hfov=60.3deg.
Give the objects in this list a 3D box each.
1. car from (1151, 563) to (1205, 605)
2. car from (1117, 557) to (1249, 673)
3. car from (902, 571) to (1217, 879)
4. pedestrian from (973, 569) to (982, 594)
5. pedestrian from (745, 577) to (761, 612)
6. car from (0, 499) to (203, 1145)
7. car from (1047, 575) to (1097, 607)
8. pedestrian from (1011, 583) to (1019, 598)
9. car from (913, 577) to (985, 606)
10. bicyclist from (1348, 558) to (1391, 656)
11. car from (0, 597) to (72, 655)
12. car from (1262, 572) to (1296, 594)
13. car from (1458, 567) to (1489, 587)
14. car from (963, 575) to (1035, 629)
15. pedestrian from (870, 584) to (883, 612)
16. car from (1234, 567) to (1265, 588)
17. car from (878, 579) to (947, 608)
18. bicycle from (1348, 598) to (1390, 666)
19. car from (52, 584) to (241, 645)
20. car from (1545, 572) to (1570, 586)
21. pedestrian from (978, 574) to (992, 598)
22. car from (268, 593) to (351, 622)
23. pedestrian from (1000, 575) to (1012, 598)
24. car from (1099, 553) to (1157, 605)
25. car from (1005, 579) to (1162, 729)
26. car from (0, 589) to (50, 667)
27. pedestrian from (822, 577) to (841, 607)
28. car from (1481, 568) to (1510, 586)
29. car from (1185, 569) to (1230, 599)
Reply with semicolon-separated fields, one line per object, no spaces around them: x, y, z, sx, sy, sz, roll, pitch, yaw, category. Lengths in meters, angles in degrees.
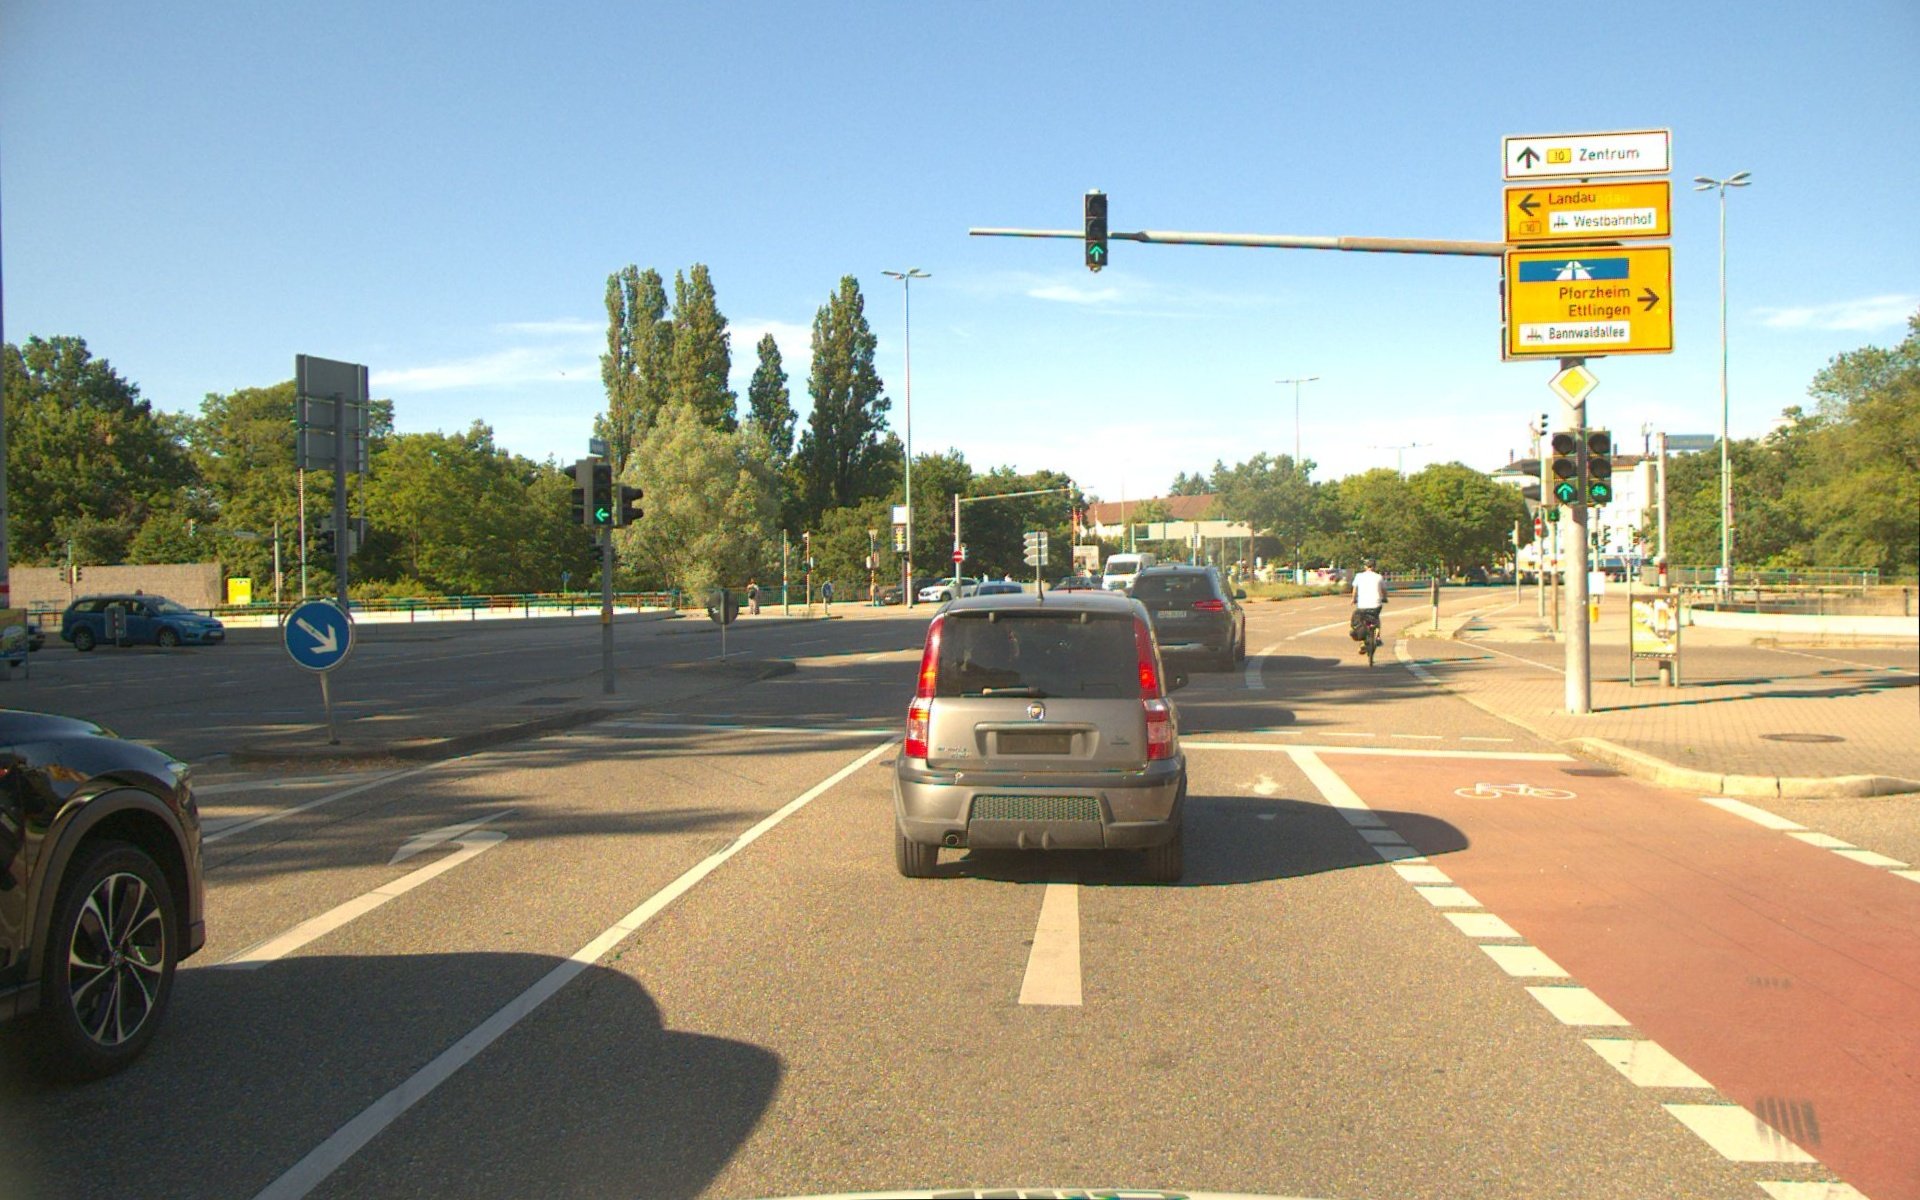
11.132;-0.847;84.370;1.896;2.043;4.934;-1;1;17;car
3.978;0.219;28.922;1.904;1.872;4.156;-1;1;13;car
0.638;0.604;10.357;1.583;1.542;3.822;1;1;4;car
1.262;-1.298;117.189;0.488;1.731;0.500;0;-1;22;pedestrian
-8.894;-0.246;71.042;0.666;1.488;0.701;-1;0;-9;pedestrian
-3.536;0.623;3.494;1.835;1.739;4.198;-1;1;1;car
6.023;-0.503;88.621;1.895;1.534;4.004;-2;1;15;car
4.039;-0.695;121.089;0.414;1.156;0.397;0;-1;22;pedestrian
-0.630;-0.526;98.663;4.296;1.562;1.756;-2;2;-44;car
7.139;0.108;28.859;0.708;1.688;1.114;0;1;14;bicyclist
-27.715;0.731;46.784;4.348;1.567;1.953;-1;1;13;car
24.356;-1.298;126.207;1.896;1.650;4.508;-1;1;19;car
41.995;-1.896;135.121;1.906;1.555;4.095;-1;1;25;car
1.067;0.024;47.398;1.745;1.439;4.316;-1;1;-3;car
-4.747;-0.121;93.846;0.548;1.574;0.573;-2;-1;-18;pedestrian
26.707;-2.089;152.537;1.953;1.848;3.999;0;-1;23;car
-2.906;-0.391;101.213;3.964;1.654;1.872;1;-1;-42;car
7.126;0.539;28.818;0.676;1.121;1.828;0;1;14;bicycle
-22.440;0.389;45.687;4.348;1.567;1.953;-1;1;10;car
71.530;-2.507;197.916;1.911;1.555;4.085;-1;1;34;car
1.778;-0.976;116.533;0.776;1.693;0.627;0;-1;37;pedestrian
-35.869;0.428;91.206;3.904;1.534;2.001;-1;-1;19;car
3.363;-0.967;121.204;0.705;1.670;0.672;0;-1;22;pedestrian
8.958;-1.131;87.727;1.896;2.621;6.092;-1;1;17;car
1.391;0.525;18.784;1.583;1.488;3.753;1;1;4;car
-22.460;0.624;35.850;4.667;1.649;1.953;-1;1;13;car
-6.794;-0.424;87.517;0.704;1.574;0.719;-1;-1;-37;pedestrian
48.172;-2.089;148.715;1.907;1.555;4.094;-1;1;25;car
14.263;-0.924;95.084;1.896;1.650;4.508;-1;1;17;car
